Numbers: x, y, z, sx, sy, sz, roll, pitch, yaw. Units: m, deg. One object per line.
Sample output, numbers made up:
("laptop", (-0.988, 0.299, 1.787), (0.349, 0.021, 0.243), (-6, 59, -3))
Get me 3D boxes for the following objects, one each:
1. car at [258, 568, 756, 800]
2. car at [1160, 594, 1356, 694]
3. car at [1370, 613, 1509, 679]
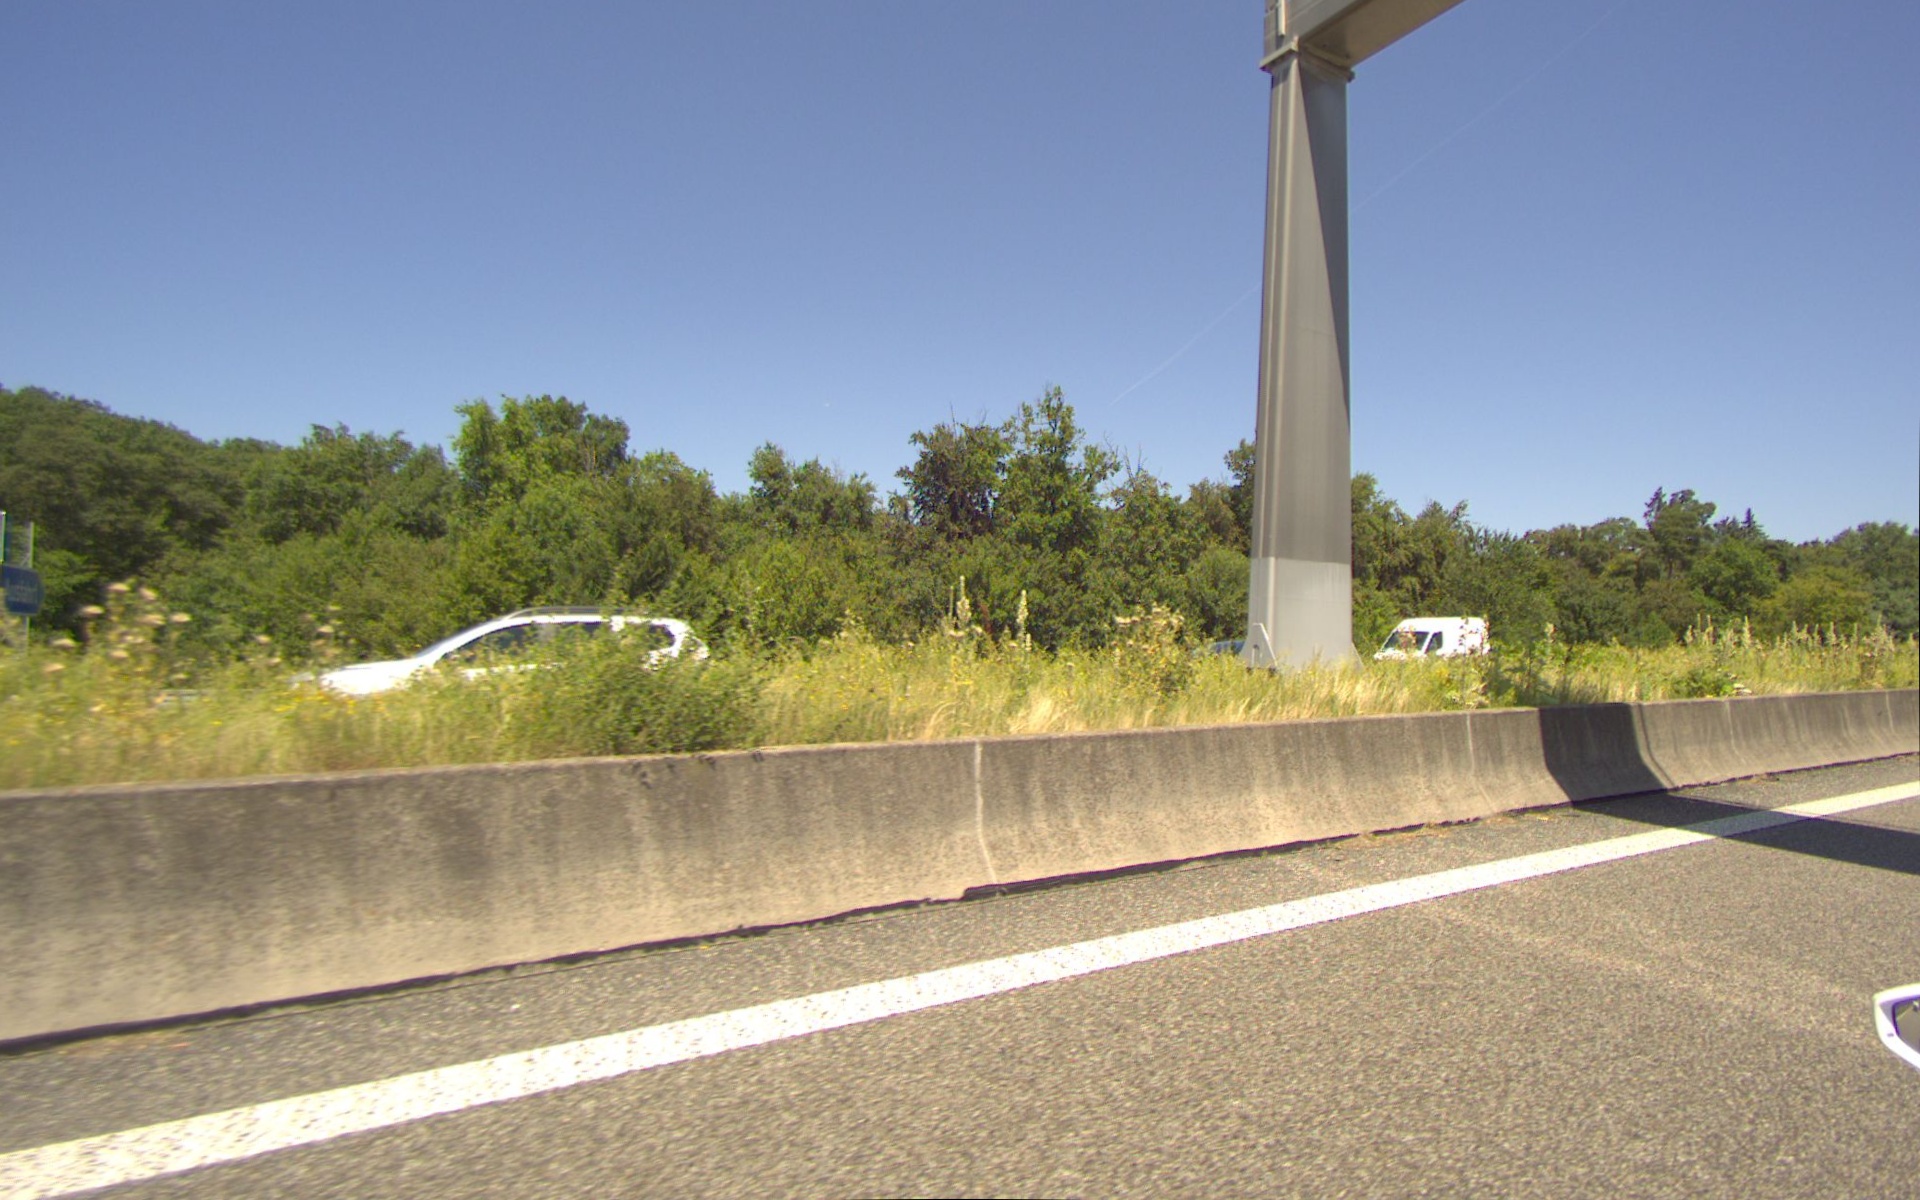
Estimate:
("car", (-4.703, 0.796, 10.845), (4.491, 2.040, 1.984), (2, -1, -30))
("car", (6.648, 0.963, 22.371), (3.951, 2.040, 1.985), (2, -1, -29))
("car", (18.449, 1.751, 38.571), (5.474, 2.347, 1.985), (2, -1, -28))
